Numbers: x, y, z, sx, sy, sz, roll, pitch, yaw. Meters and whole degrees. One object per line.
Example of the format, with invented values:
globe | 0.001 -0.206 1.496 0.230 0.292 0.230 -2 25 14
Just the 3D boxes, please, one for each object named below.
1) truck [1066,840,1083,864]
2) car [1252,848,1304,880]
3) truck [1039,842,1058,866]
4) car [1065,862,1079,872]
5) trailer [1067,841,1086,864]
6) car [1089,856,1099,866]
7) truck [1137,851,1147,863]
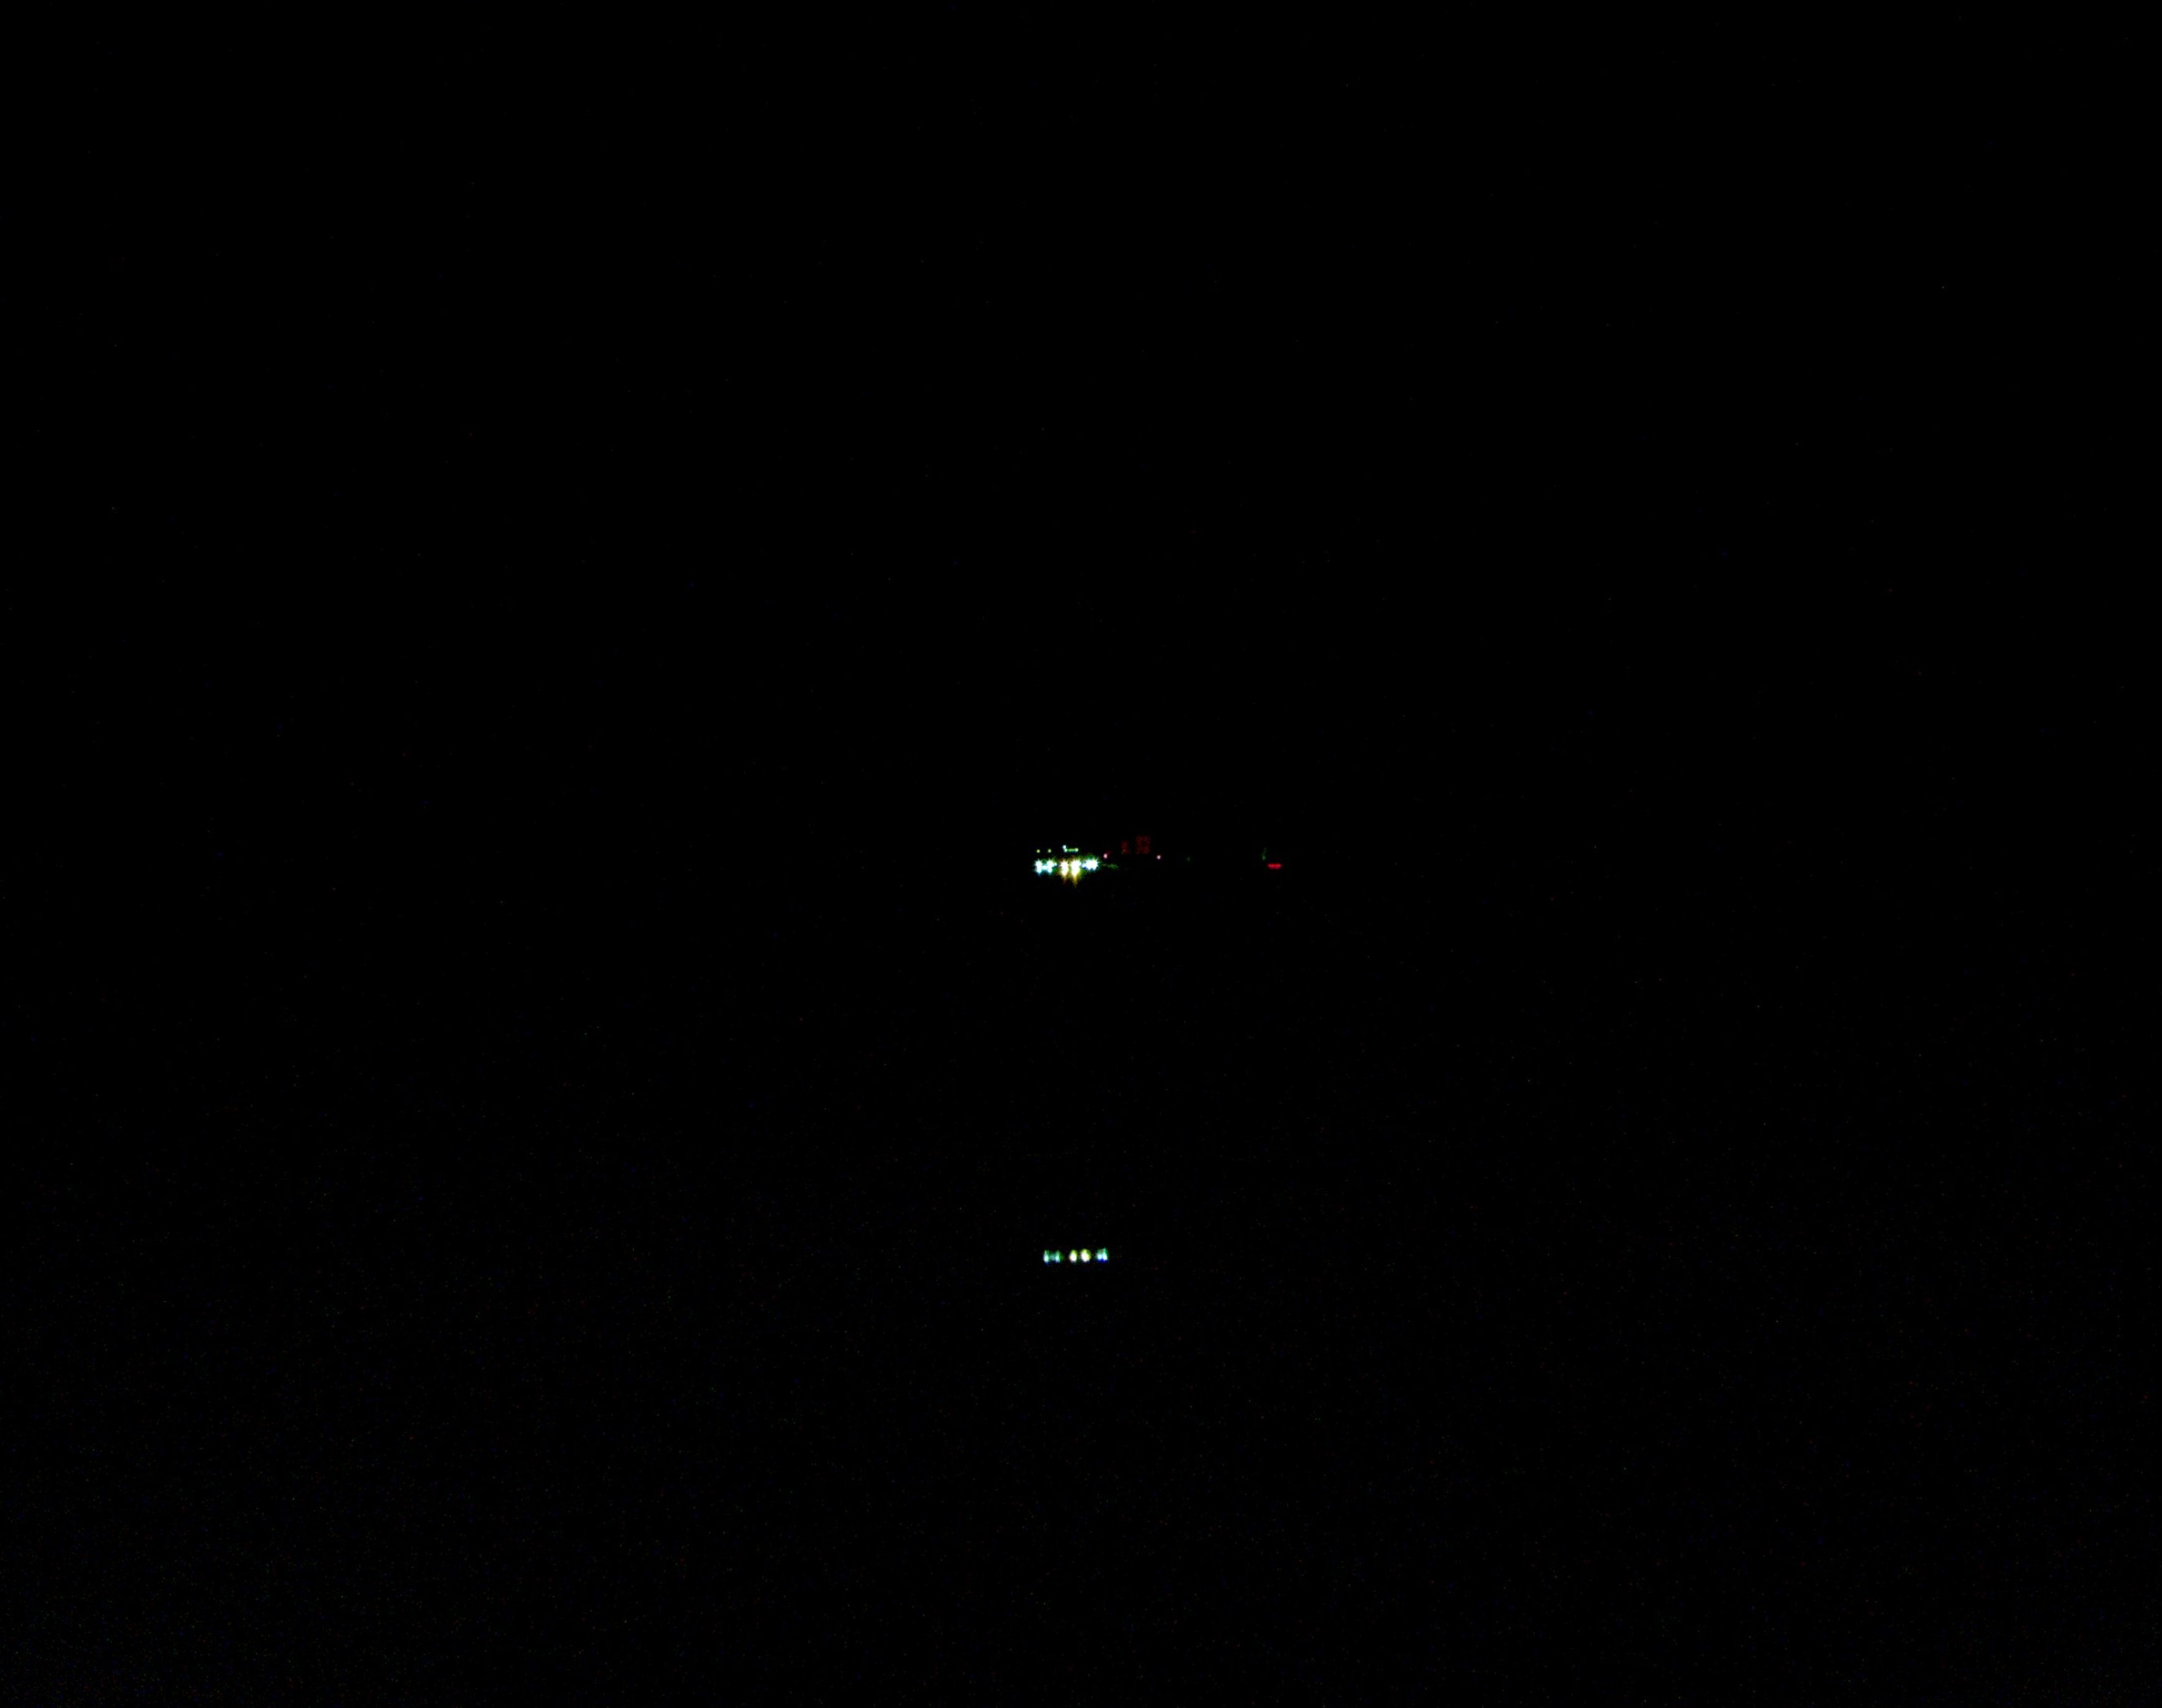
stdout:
truck | -1.130 -0.234 138.624 2.668 4.181 6.724 -2 -1 2
car | 12.633 0.657 49.047 1.913 1.911 5.458 0 -1 -1
truck | -5.811 0.035 136.169 2.597 4.048 7.675 -2 -1 2
car | -1.194 1.775 103.616 1.701 1.379 3.502 -2 -1 1
trailer | -0.844 -0.160 145.367 2.749 4.181 13.514 -2 -1 2
car | 3.839 2.019 223.066 2.859 2.795 5.942 -2 -1 2
truck | 21.958 1.139 274.716 3.120 4.177 16.986 1 -1 3
